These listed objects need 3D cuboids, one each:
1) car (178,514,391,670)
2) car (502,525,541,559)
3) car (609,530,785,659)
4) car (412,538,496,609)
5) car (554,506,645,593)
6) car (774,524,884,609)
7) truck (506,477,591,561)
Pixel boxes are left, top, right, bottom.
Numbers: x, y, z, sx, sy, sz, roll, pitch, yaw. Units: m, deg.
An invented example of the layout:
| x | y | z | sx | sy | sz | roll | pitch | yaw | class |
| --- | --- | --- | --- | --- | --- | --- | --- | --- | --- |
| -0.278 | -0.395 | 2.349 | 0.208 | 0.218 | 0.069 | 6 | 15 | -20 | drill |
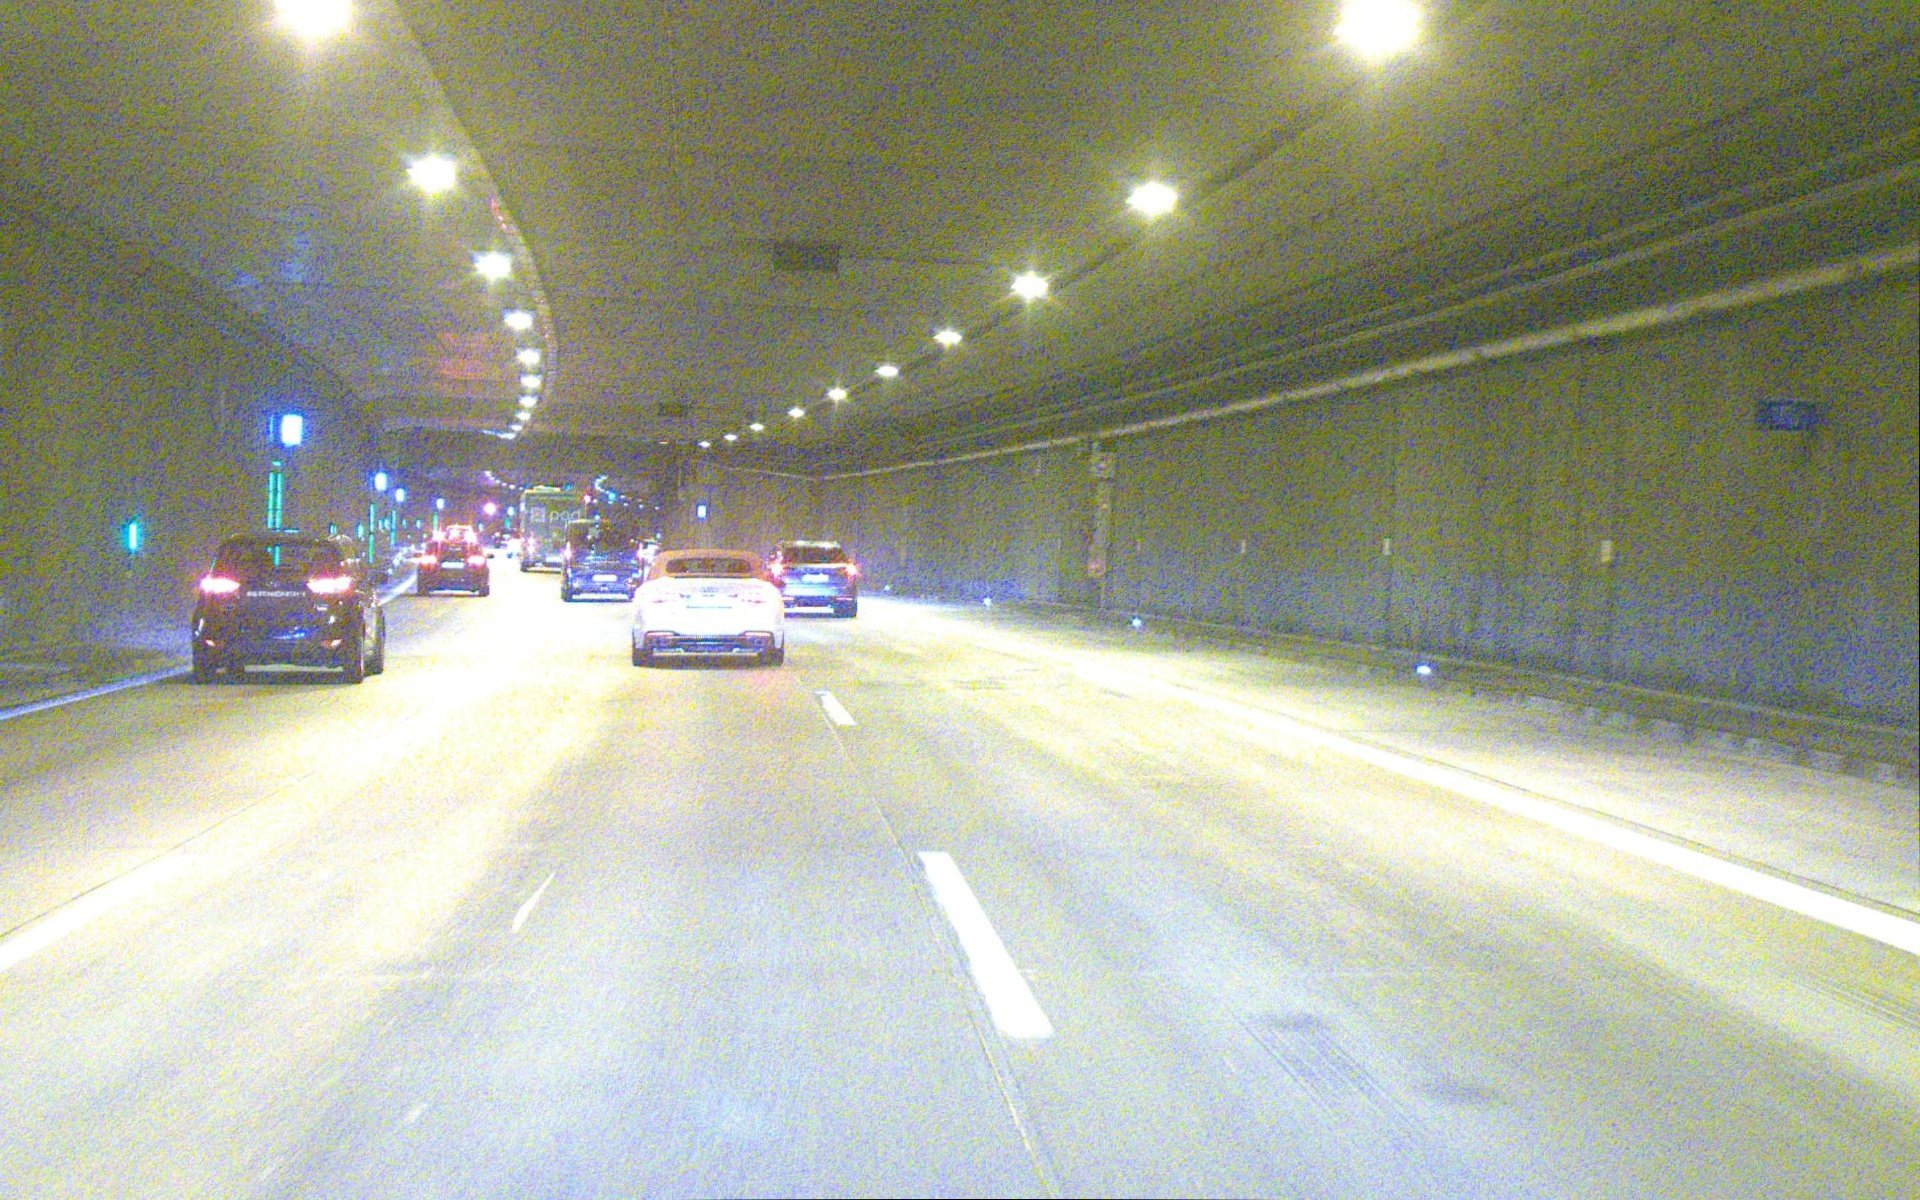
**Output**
| x | y | z | sx | sy | sz | roll | pitch | yaw | class |
| --- | --- | --- | --- | --- | --- | --- | --- | --- | --- |
| -7.229 | -0.120 | 37.081 | 1.785 | 1.593 | 3.802 | 0 | 1 | -4 | car |
| -23.886 | -3.142 | 187.476 | 1.993 | 1.748 | 4.001 | 2 | 0 | -6 | car |
| -3.179 | -0.098 | 42.181 | 1.993 | 1.478 | 4.001 | 1 | 1 | -2 | car |
| -12.572 | -0.668 | 85.642 | 1.800 | 1.678 | 4.001 | 1 | 1 | -5 | car |
| -8.441 | -1.178 | 80.707 | 1.993 | 1.965 | 4.001 | 1 | 1 | -4 | car |
| -2.622 | -0.675 | 67.915 | 1.839 | 1.597 | 4.001 | 1 | 1 | -7 | car |
| -16.179 | -3.223 | 135.310 | 3.082 | 3.102 | 10.032 | 2 | 2 | -7 | truck |
